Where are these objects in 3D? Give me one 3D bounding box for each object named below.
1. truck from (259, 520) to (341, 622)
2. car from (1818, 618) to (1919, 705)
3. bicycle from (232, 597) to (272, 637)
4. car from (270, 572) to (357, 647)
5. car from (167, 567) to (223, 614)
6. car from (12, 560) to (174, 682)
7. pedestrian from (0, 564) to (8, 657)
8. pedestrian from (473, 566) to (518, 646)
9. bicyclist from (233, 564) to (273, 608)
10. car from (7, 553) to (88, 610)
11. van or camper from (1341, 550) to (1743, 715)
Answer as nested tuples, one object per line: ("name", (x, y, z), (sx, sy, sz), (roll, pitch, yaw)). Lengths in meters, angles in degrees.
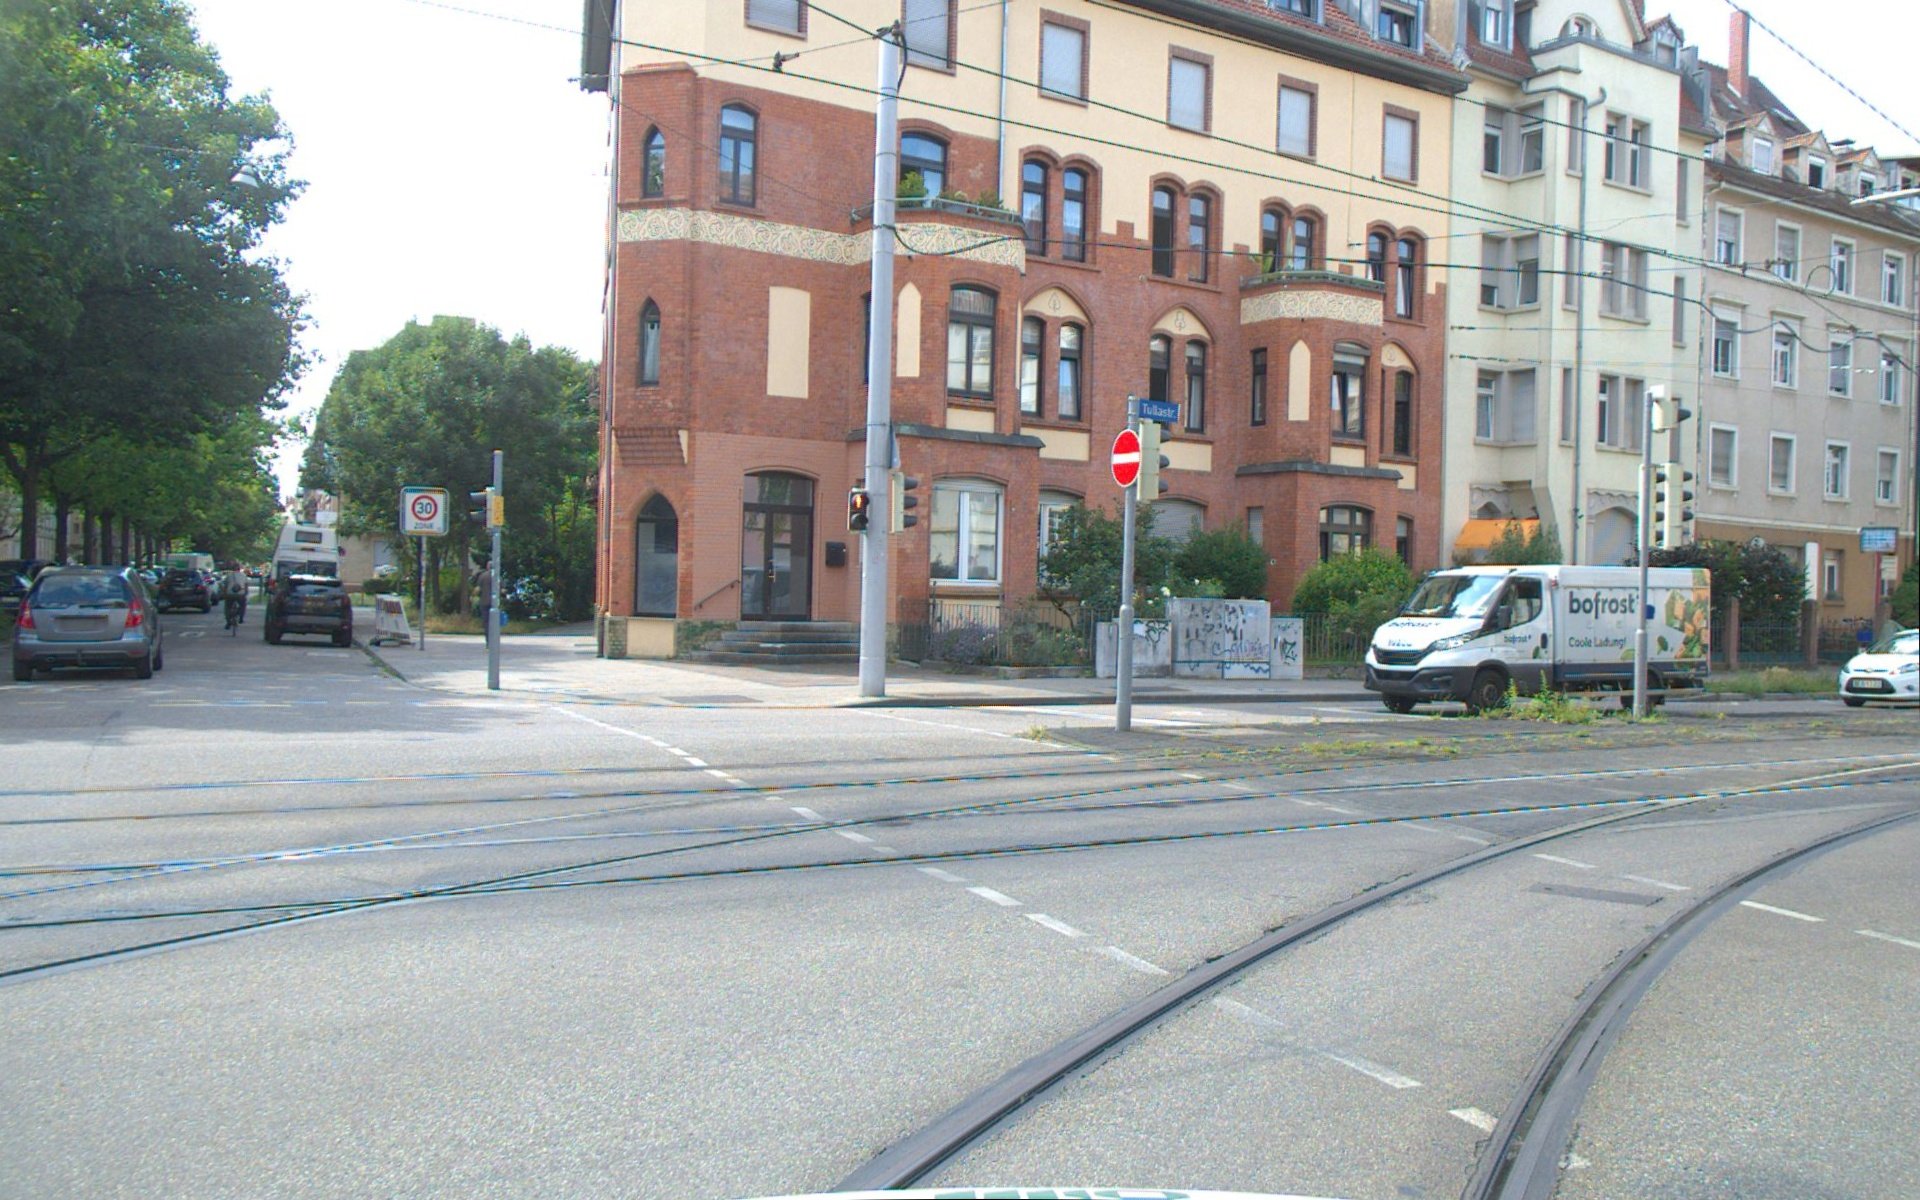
("truck", (-20.369, -0.879, 51.179), (2.091, 3.022, 3.979), (0, 1, -19))
("car", (18.095, 1.128, 30.707), (3.959, 1.464, 1.919), (1, 0, -27))
("bicycle", (-18.116, 0.428, 42.344), (0.738, 0.975, 2.286), (0, 1, -19))
("car", (-15.327, 0.198, 39.348), (1.725, 1.661, 3.481), (1, 0, -19))
("car", (-29.159, -0.361, 63.105), (1.698, 1.735, 3.653), (0, 1, -22))
("car", (-12.619, 0.259, 24.257), (1.698, 1.633, 3.653), (0, 1, -22))
("pedestrian", (-18.489, 0.191, 31.362), (0.642, 1.755, 0.492), (1, 0, -19))
("pedestrian", (-9.871, 0.123, 35.139), (0.855, 1.685, 0.732), (1, 0, -18))
("bicyclist", (-18.151, -0.361, 42.510), (0.823, 1.101, 1.393), (0, 1, -19))
("car", (-28.226, -0.589, 51.244), (1.728, 1.661, 3.476), (1, 0, -22))
("van or camper", (9.091, 0.495, 25.624), (6.455, 2.293, 2.225), (1, 0, -30))
